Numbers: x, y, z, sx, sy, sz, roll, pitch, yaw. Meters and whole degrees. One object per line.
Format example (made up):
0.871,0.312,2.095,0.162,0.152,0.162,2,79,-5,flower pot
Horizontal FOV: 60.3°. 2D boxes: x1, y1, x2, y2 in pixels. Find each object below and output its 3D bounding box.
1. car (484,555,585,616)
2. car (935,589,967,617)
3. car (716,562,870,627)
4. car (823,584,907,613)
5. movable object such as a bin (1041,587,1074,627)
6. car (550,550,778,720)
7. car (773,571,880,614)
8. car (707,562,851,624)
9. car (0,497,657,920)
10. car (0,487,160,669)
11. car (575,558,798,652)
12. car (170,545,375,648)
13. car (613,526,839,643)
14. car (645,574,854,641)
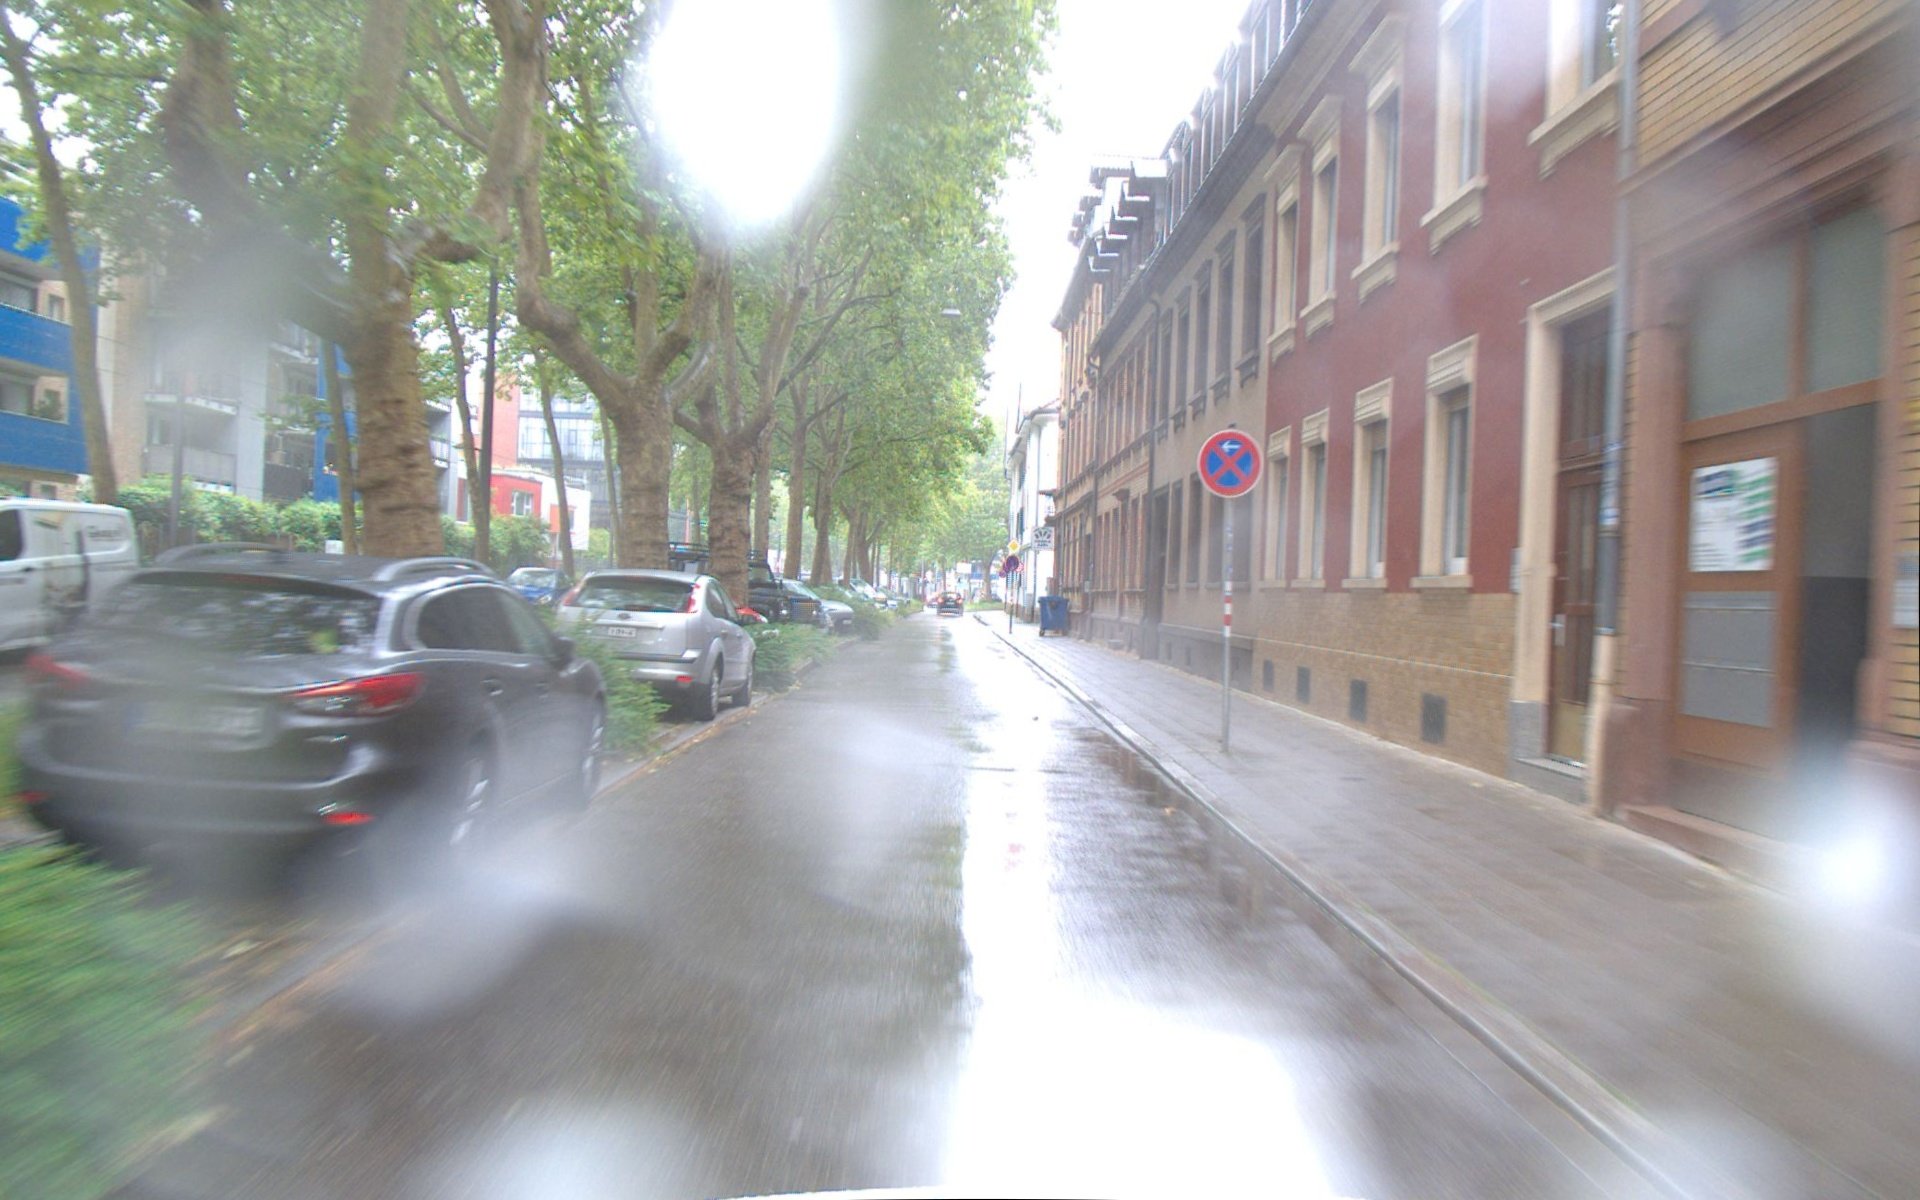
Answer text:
-12.281,-0.422,47.992,1.866,1.560,4.214,3,0,-2,car
-0.597,0.165,108.219,1.953,1.668,3.999,4,0,-1,car
-4.744,-0.147,46.854,3.978,1.564,1.832,4,1,30,car
-5.336,-0.075,92.671,4.461,1.508,1.771,2,0,30,car
3.315,0.226,56.254,1.000,1.324,1.366,-1,1,-1,movable object such as a bin
-3.122,0.326,18.237,1.694,1.540,4.207,4,0,-1,car
-6.720,-0.375,83.170,5.021,2.012,2.098,2,0,30,car
-4.823,-0.194,44.123,3.428,1.493,1.642,2,0,21,car
-2.978,0.400,8.716,1.858,1.510,4.621,4,0,-1,car
-11.794,-0.336,19.746,2.014,2.031,5.430,5,0,-4,car
-4.759,0.078,28.787,3.424,1.461,1.779,2,0,27,car
-11.892,-0.077,28.936,1.866,1.560,4.214,3,0,-2,car
-5.080,-0.350,35.722,4.563,2.323,2.006,2,0,33,car
-4.905,0.169,38.495,4.555,1.349,1.845,2,0,27,car
